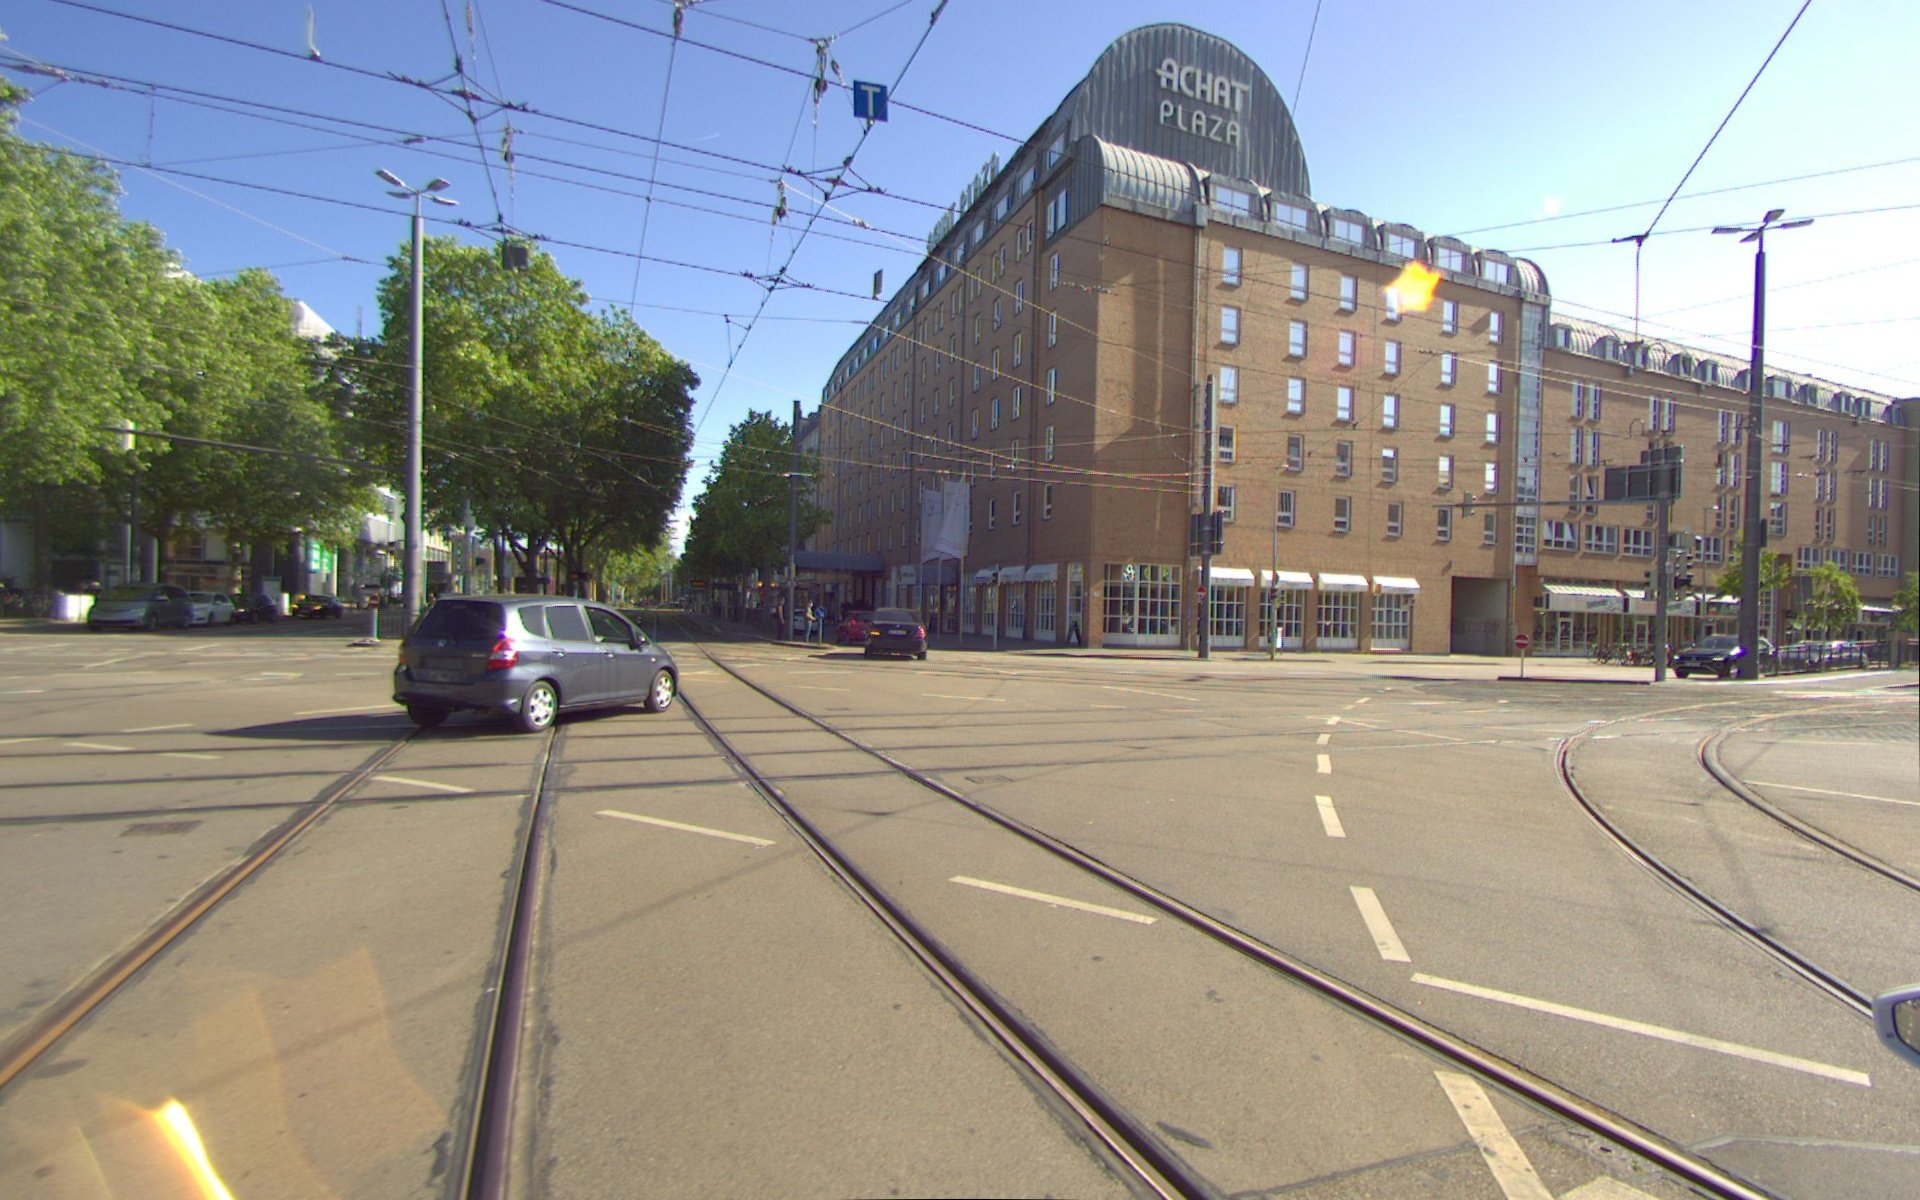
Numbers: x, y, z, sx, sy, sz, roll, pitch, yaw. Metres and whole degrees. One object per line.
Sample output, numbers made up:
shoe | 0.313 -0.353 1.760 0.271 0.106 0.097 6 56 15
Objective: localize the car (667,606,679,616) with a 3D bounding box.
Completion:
car | -57.082 2.151 199.466 1.970 1.884 3.981 2 -1 -20

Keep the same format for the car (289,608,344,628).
car | -40.956 1.148 63.999 1.752 1.158 3.987 2 -1 -15

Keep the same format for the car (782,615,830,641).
car | -9.170 1.638 59.526 2.035 1.399 4.393 2 -1 -19

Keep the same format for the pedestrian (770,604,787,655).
pedestrian | -7.188 1.160 39.734 0.518 1.958 0.524 2 0 -1

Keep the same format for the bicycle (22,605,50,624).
bicycle | -38.957 0.609 42.363 0.439 0.793 1.485 2 -1 -26

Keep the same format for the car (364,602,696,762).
car | -5.001 0.883 12.262 1.697 1.584 3.678 2 -1 18

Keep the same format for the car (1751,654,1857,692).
car | 32.493 2.799 38.646 4.173 1.416 1.604 2 -4 -27

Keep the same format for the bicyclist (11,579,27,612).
bicyclist | -50.220 -0.242 53.632 0.460 1.744 0.481 2 -1 -28

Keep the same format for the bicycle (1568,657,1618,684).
bicycle | 34.920 3.892 55.442 0.722 1.327 2.484 2 -1 -16

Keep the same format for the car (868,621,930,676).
car | -1.831 1.418 30.712 1.698 1.468 4.519 2 -1 -3

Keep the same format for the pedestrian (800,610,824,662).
pedestrian | -5.730 1.389 38.861 0.742 1.958 0.521 2 -1 -27

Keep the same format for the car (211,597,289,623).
car | -34.433 0.455 48.819 1.752 1.158 3.987 2 -1 -15

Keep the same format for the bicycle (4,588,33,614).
bicycle | -50.226 0.062 53.610 0.460 1.370 2.355 2 -1 -28

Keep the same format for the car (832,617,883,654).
car | -4.467 1.507 43.310 1.631 1.468 3.574 2 -1 -15

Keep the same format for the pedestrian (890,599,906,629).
pedestrian | -4.141 0.925 67.138 0.821 1.957 0.557 2 -1 -24

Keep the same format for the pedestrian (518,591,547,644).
pedestrian | -15.870 0.651 37.301 0.894 1.958 0.698 2 -1 -27

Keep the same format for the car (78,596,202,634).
car | -29.726 0.533 36.576 1.967 1.247 3.987 2 -1 -15

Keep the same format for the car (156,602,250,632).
car | -31.740 0.695 42.267 1.752 1.158 3.987 2 -1 -15

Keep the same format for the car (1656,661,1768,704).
car | 26.365 2.871 35.204 3.869 1.416 1.604 2 -4 -27
